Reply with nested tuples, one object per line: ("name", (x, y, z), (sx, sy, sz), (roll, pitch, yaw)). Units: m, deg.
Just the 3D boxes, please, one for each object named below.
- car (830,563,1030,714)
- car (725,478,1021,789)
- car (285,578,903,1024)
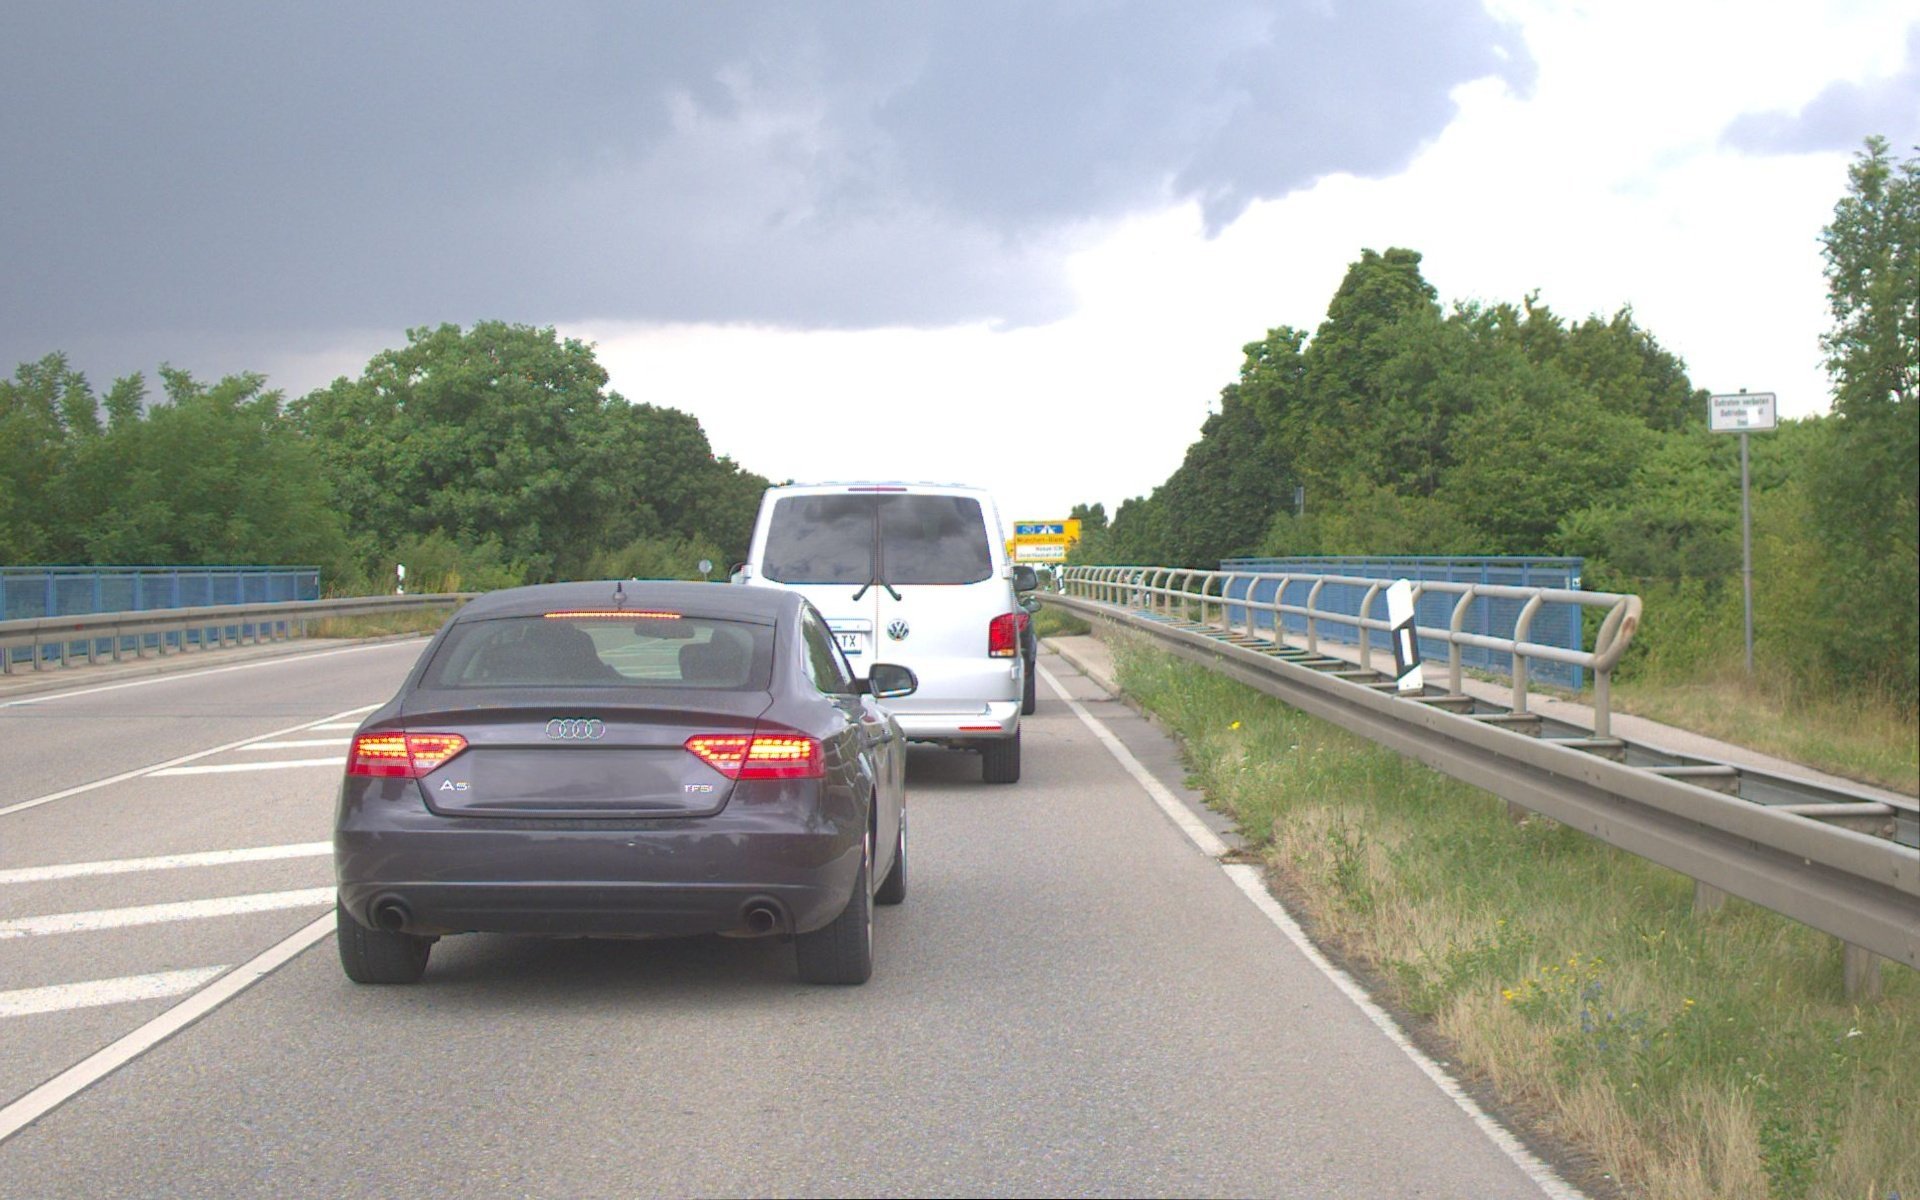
("car", (-0.246, 0.329, 33.477), (1.821, 1.376, 4.072), (0, 1, 1))
("car", (-0.556, 0.189, 23.454), (1.828, 1.929, 4.000), (-1, 1, 0))
("car", (-1.189, 0.623, 12.870), (1.821, 1.376, 4.072), (-1, 1, 1))
